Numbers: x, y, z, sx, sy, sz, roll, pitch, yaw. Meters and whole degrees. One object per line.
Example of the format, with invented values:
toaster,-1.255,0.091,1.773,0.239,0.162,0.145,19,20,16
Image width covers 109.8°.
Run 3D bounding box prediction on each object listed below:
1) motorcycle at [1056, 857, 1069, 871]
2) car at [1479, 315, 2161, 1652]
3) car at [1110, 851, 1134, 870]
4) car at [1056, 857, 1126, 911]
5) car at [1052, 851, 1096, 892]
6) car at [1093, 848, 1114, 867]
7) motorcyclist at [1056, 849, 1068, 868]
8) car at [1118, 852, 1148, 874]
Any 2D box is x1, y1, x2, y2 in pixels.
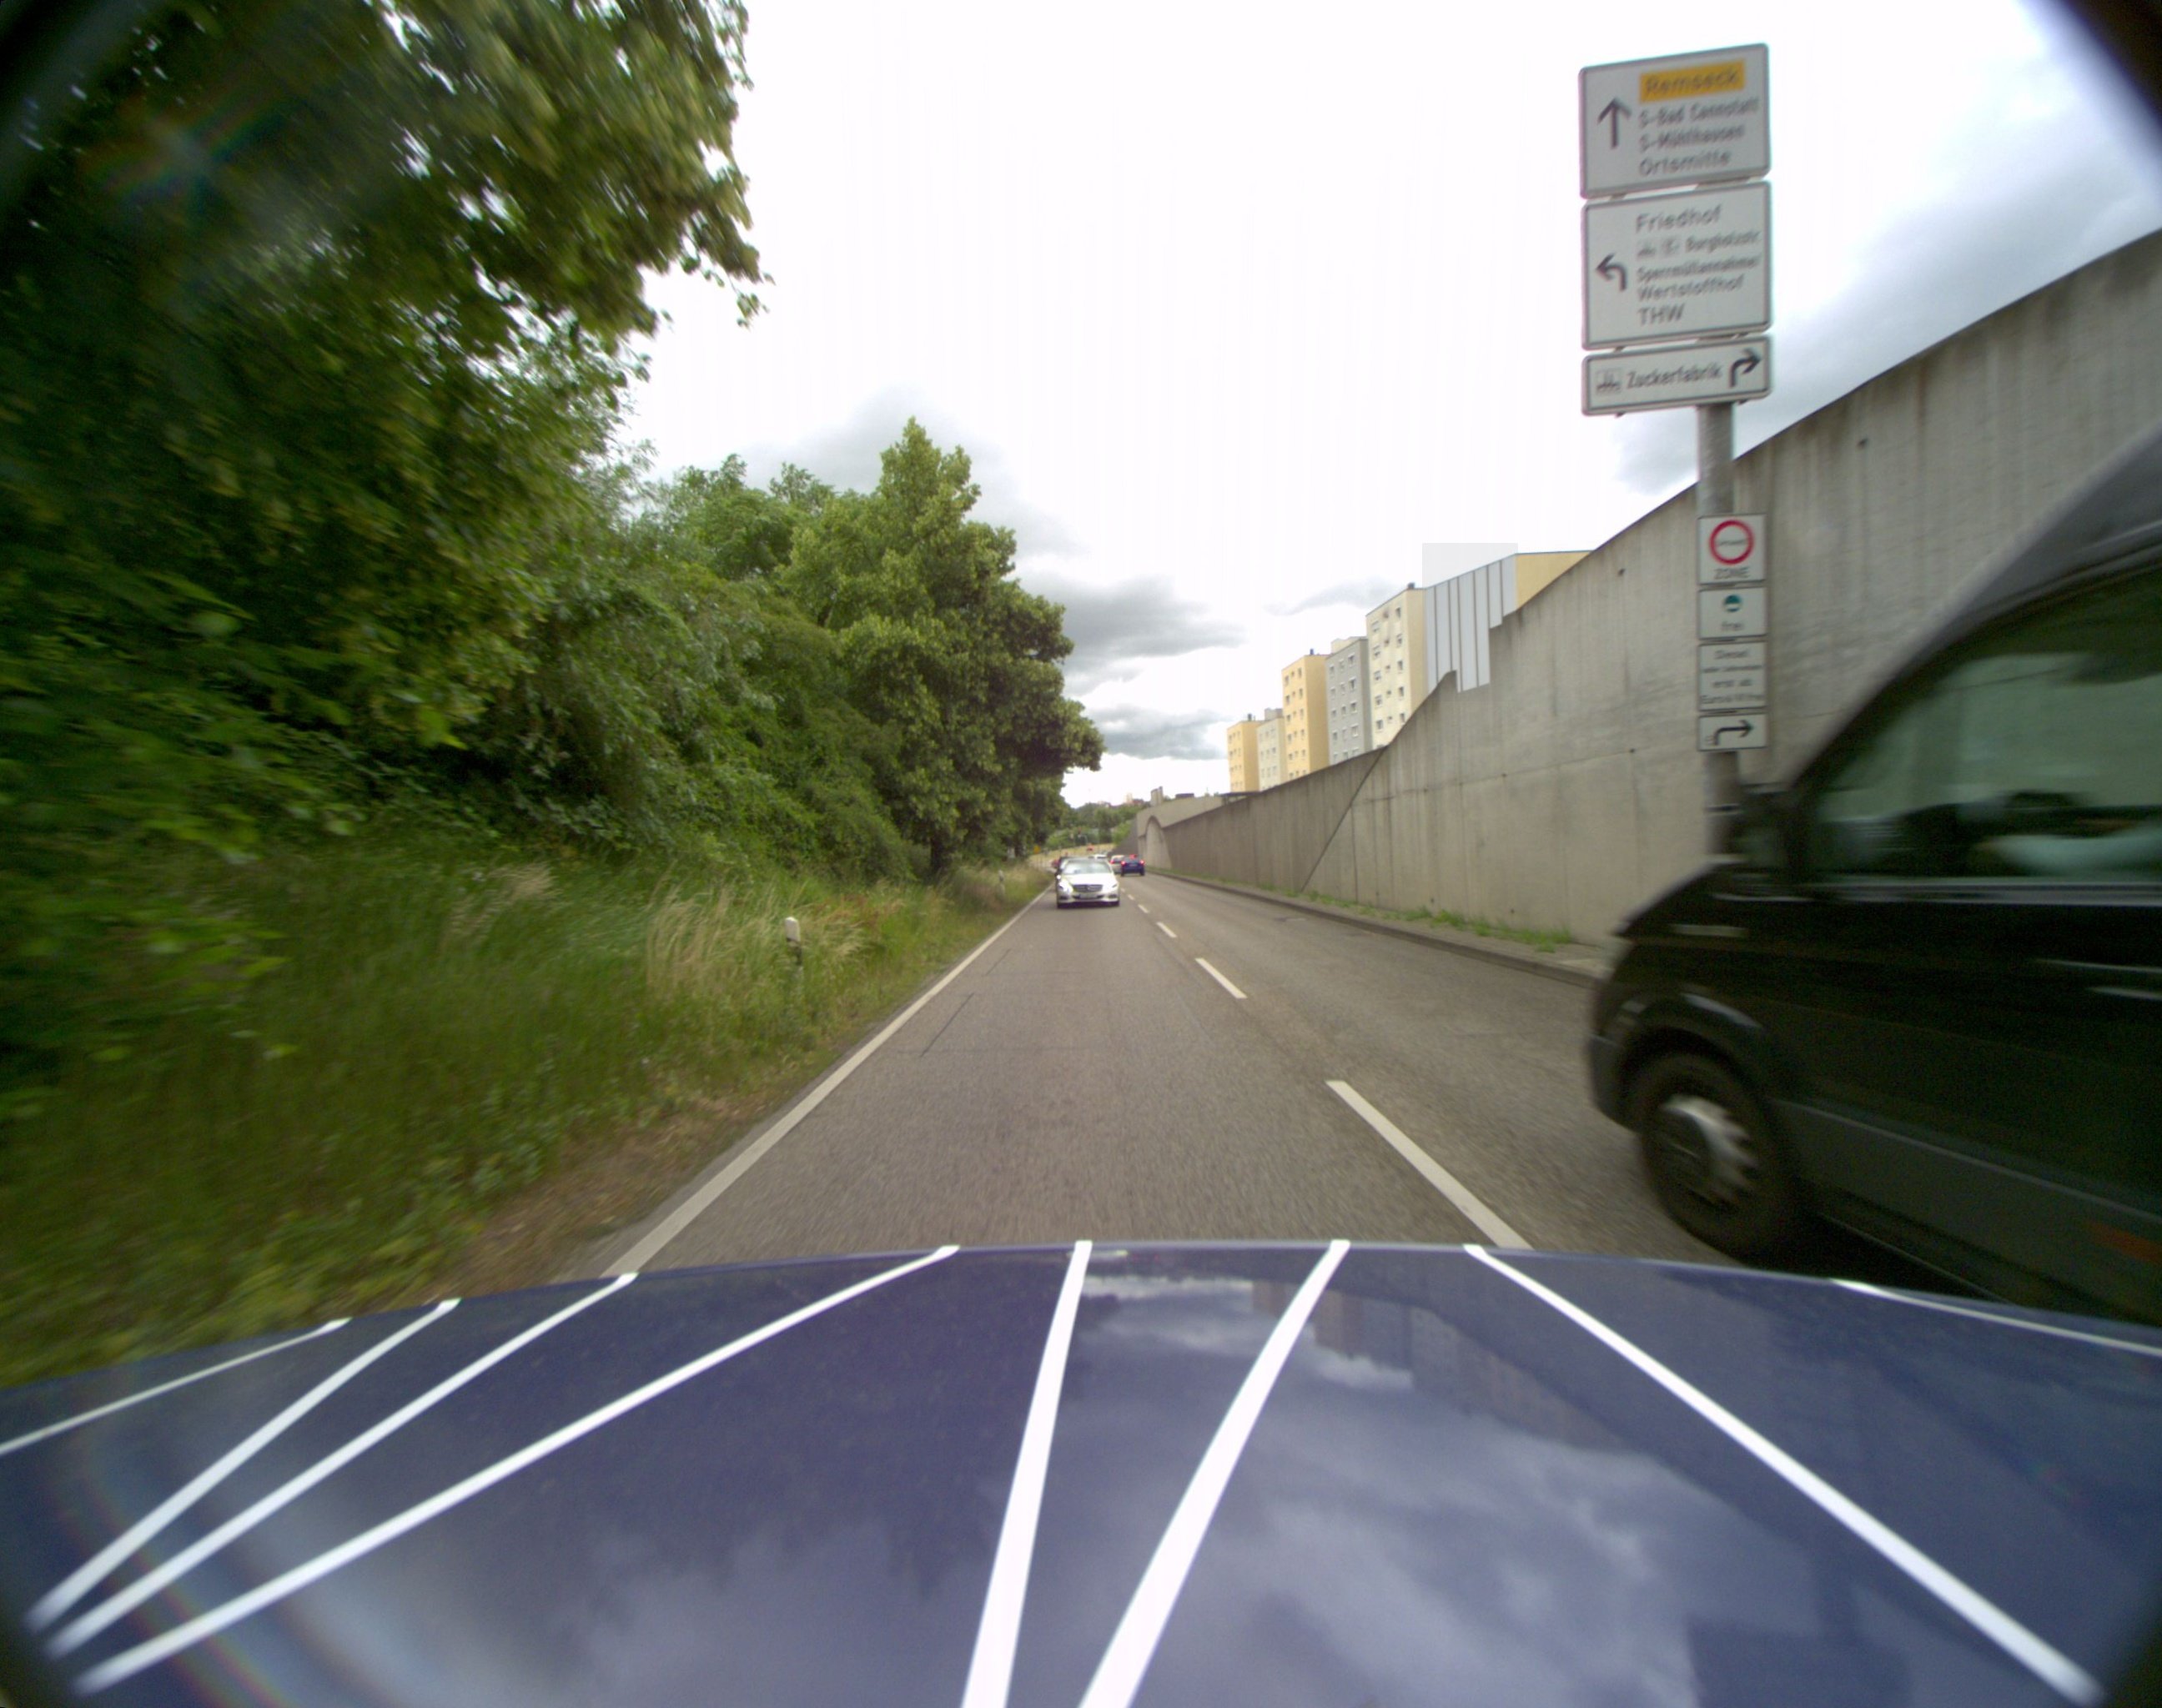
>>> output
motorcycle,-1.701,0.872,68.684,0.883,1.098,2.359,-5,1,-6
car,3.148,0.250,0.299,2.115,2.615,7.416,-2,0,1
car,3.623,0.561,67.436,1.920,1.487,4.208,-3,0,2
car,0.225,0.861,23.900,1.905,1.471,4.093,-2,0,-2
car,-0.339,0.762,34.906,1.759,1.532,3.998,-5,2,-1
car,2.249,0.324,76.716,1.895,1.623,4.424,-3,2,0
motorcyclist,-1.732,0.421,68.527,0.883,1.596,1.243,-5,2,-5
car,3.676,0.613,54.292,1.772,1.487,4.208,-3,0,0
